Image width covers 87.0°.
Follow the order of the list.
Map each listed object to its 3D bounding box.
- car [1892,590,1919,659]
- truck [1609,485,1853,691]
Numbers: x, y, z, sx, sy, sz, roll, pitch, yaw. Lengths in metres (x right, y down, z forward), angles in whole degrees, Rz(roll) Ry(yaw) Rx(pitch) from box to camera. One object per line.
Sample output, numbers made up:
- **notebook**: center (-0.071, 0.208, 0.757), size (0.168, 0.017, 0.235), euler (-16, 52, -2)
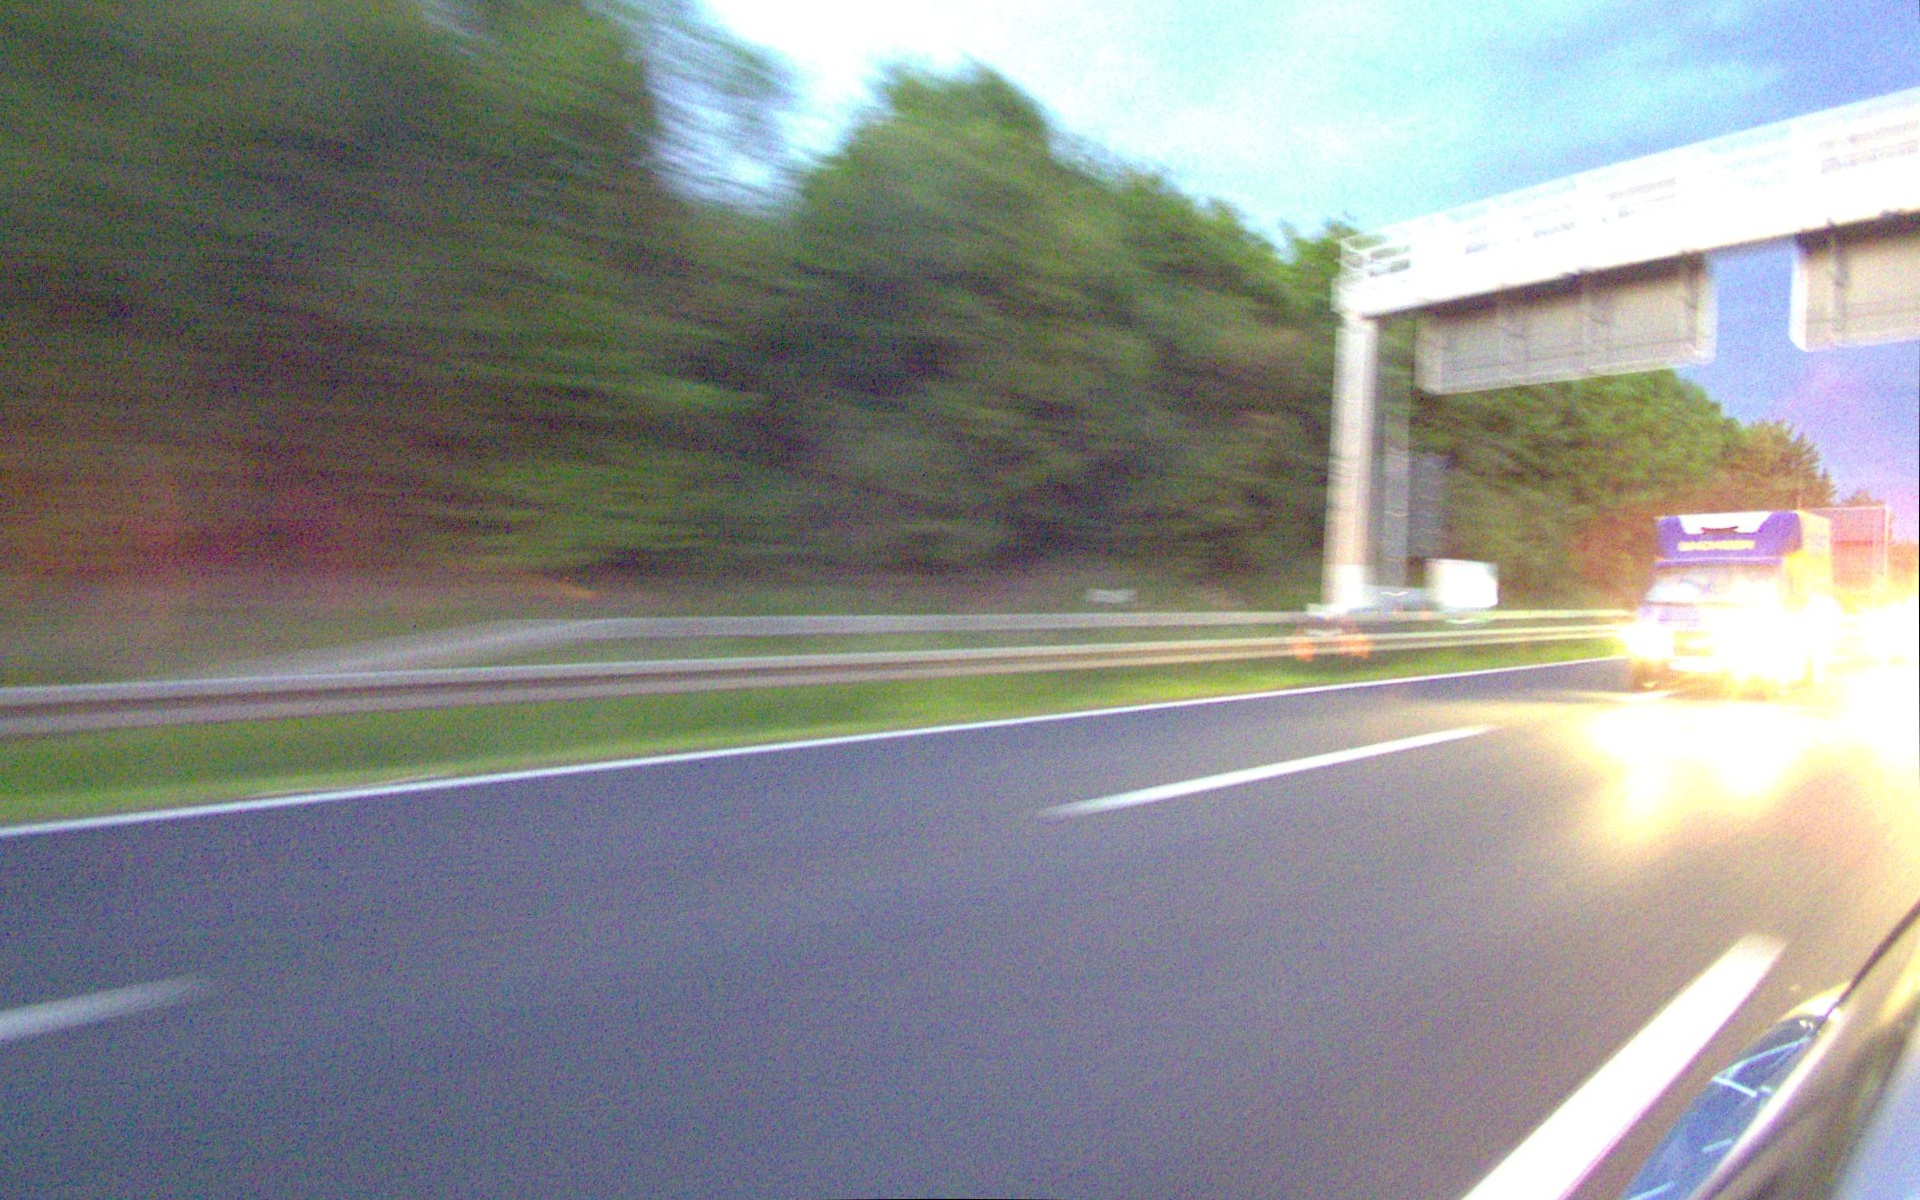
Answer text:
- **car**: center (23.495, 0.580, 24.066), size (3.262, 1.575, 1.613), euler (-1, 2, -42)
- **truck**: center (13.741, -0.172, 17.819), size (6.518, 3.009, 2.271), euler (0, 0, -42)
